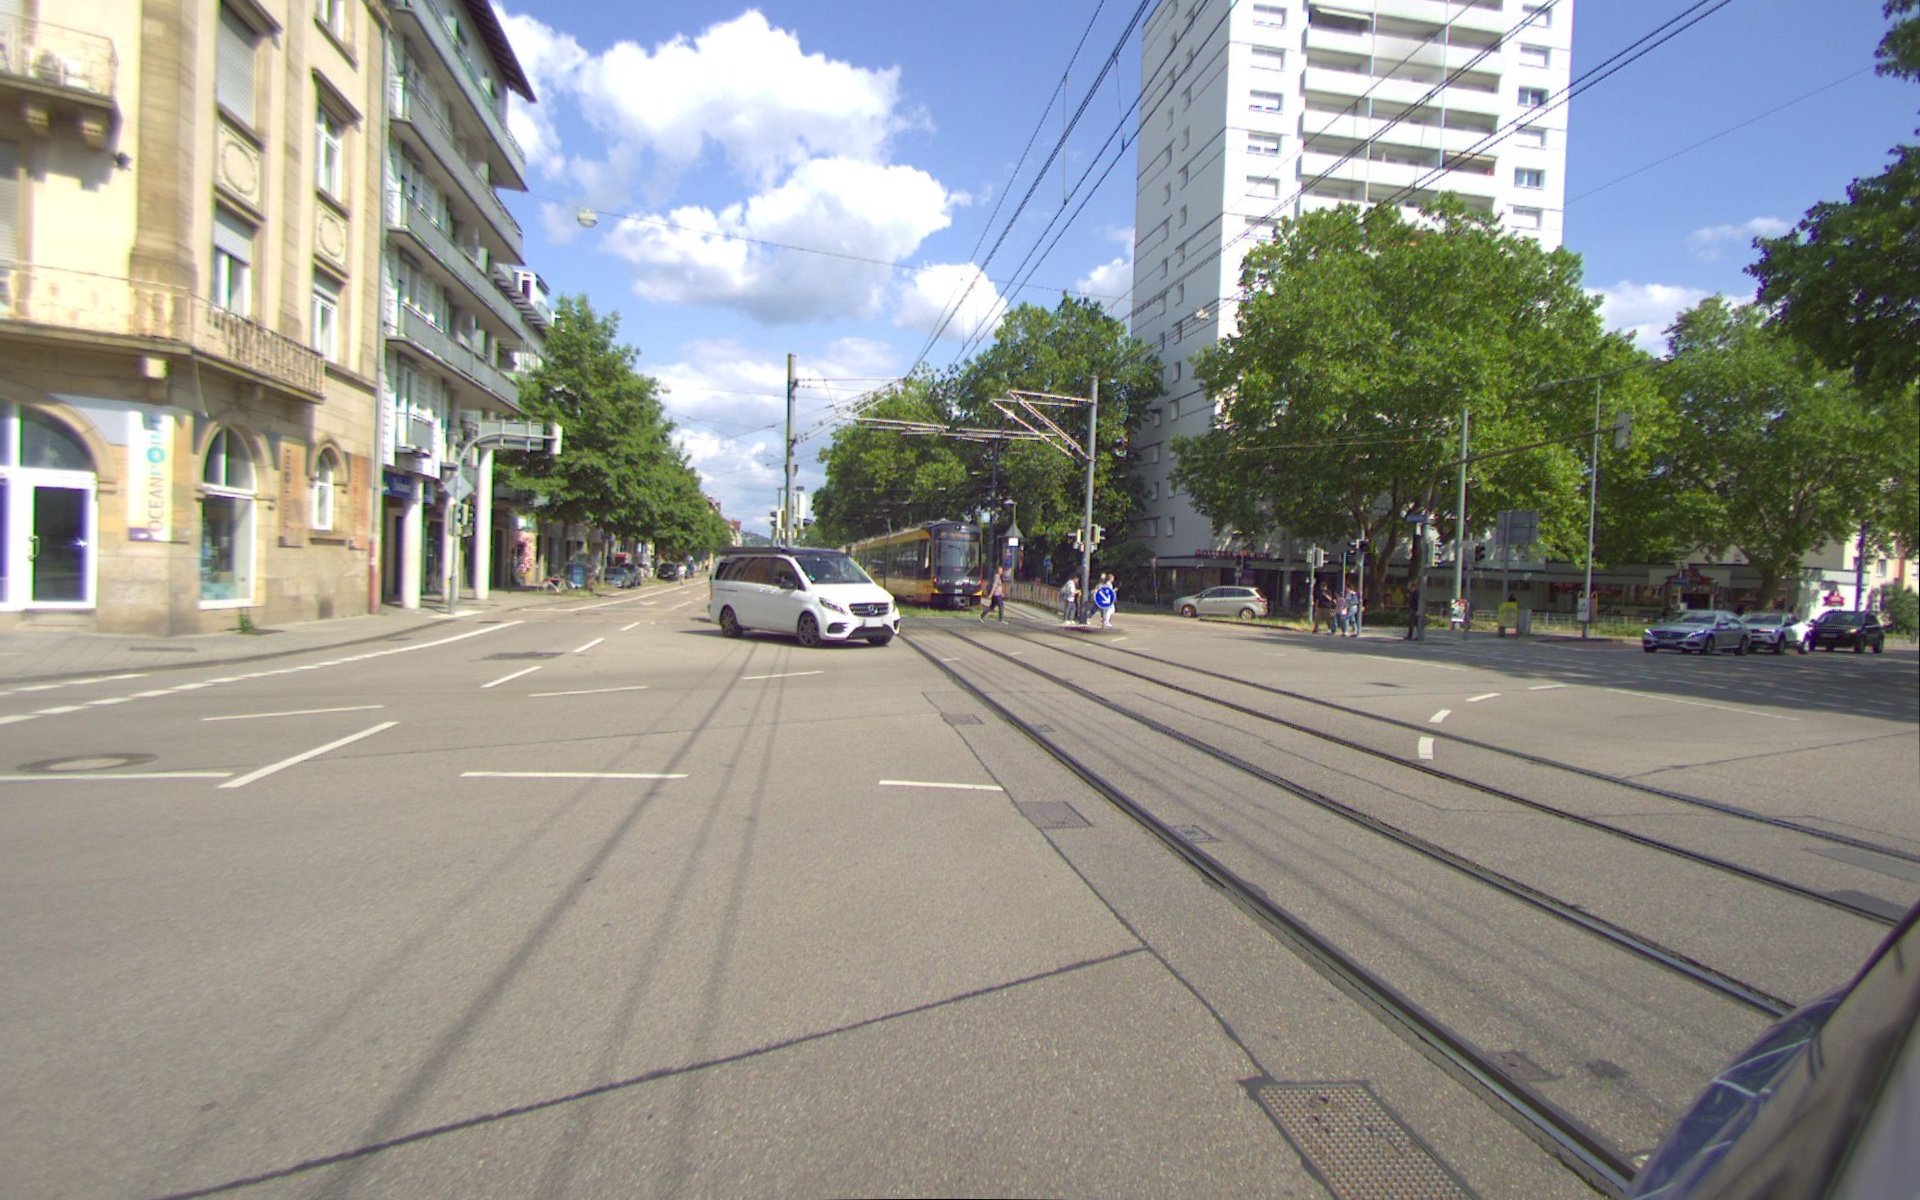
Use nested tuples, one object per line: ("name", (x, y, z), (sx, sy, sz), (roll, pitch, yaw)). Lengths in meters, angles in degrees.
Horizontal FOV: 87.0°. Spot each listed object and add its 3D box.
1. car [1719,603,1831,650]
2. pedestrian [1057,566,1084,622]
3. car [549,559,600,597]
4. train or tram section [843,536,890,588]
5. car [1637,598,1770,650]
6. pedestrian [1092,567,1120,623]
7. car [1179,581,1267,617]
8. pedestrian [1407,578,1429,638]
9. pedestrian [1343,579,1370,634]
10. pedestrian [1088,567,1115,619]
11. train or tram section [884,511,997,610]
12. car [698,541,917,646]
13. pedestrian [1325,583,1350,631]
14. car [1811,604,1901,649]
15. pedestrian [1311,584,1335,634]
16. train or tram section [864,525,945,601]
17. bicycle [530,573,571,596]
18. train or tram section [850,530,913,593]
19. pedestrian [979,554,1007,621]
("car", (29.181, 0.936, 36.218), (3.995, 1.508, 1.863), (1, 2, -32))
("pedestrian", (3.483, -0.186, 31.955), (0.658, 1.724, 0.649), (2, 1, -8))
("car", (-20.473, -1.221, 53.886), (1.814, 1.811, 4.009), (4, 1, -12))
("train or tram section", (-7.154, -2.852, 76.108), (2.718, 3.525, 8.925), (2, 2, -10))
("car", (23.974, 0.768, 32.624), (3.918, 1.508, 1.864), (1, 2, -28))
("pedestrian", (4.640, -0.157, 32.134), (0.658, 1.724, 0.649), (2, 1, -8))
("car", (12.617, -0.070, 48.549), (3.810, 1.508, 1.845), (3, 2, 25))
("pedestrian", (14.446, 0.250, 31.906), (0.478, 1.847, 0.550), (3, 1, 32))
("pedestrian", (13.020, 0.211, 33.254), (0.518, 1.757, 0.557), (1, 1, -32))
("pedestrian", (4.756, -0.234, 34.050), (0.658, 1.724, 0.649), (2, 1, -8))
("train or tram section", (-1.131, -1.674, 43.210), (2.747, 3.604, 11.401), (2, 2, -11))
("car", (-3.322, -0.203, 21.123), (1.966, 1.915, 5.162), (1, 1, -42))
("pedestrian", (12.973, 0.223, 34.814), (0.502, 1.617, 0.557), (1, 1, -32))
("car", (35.816, 1.052, 40.432), (3.922, 1.639, 1.692), (1, 2, -33))
("pedestrian", (12.662, 0.308, 35.314), (0.502, 1.691, 0.557), (1, 1, -32))
("train or tram section", (-3.189, -1.994, 54.295), (2.756, 3.604, 11.205), (2, 2, -11))
("bicycle", (-18.824, -0.721, 46.566), (1.659, 0.998, 0.498), (2, 1, -13))
("train or tram section", (-5.272, -2.503, 65.735), (2.757, 3.604, 12.181), (2, 2, -10))
("pedestrian", (1.021, -0.389, 31.580), (0.726, 2.038, 0.705), (2, 1, -5))
